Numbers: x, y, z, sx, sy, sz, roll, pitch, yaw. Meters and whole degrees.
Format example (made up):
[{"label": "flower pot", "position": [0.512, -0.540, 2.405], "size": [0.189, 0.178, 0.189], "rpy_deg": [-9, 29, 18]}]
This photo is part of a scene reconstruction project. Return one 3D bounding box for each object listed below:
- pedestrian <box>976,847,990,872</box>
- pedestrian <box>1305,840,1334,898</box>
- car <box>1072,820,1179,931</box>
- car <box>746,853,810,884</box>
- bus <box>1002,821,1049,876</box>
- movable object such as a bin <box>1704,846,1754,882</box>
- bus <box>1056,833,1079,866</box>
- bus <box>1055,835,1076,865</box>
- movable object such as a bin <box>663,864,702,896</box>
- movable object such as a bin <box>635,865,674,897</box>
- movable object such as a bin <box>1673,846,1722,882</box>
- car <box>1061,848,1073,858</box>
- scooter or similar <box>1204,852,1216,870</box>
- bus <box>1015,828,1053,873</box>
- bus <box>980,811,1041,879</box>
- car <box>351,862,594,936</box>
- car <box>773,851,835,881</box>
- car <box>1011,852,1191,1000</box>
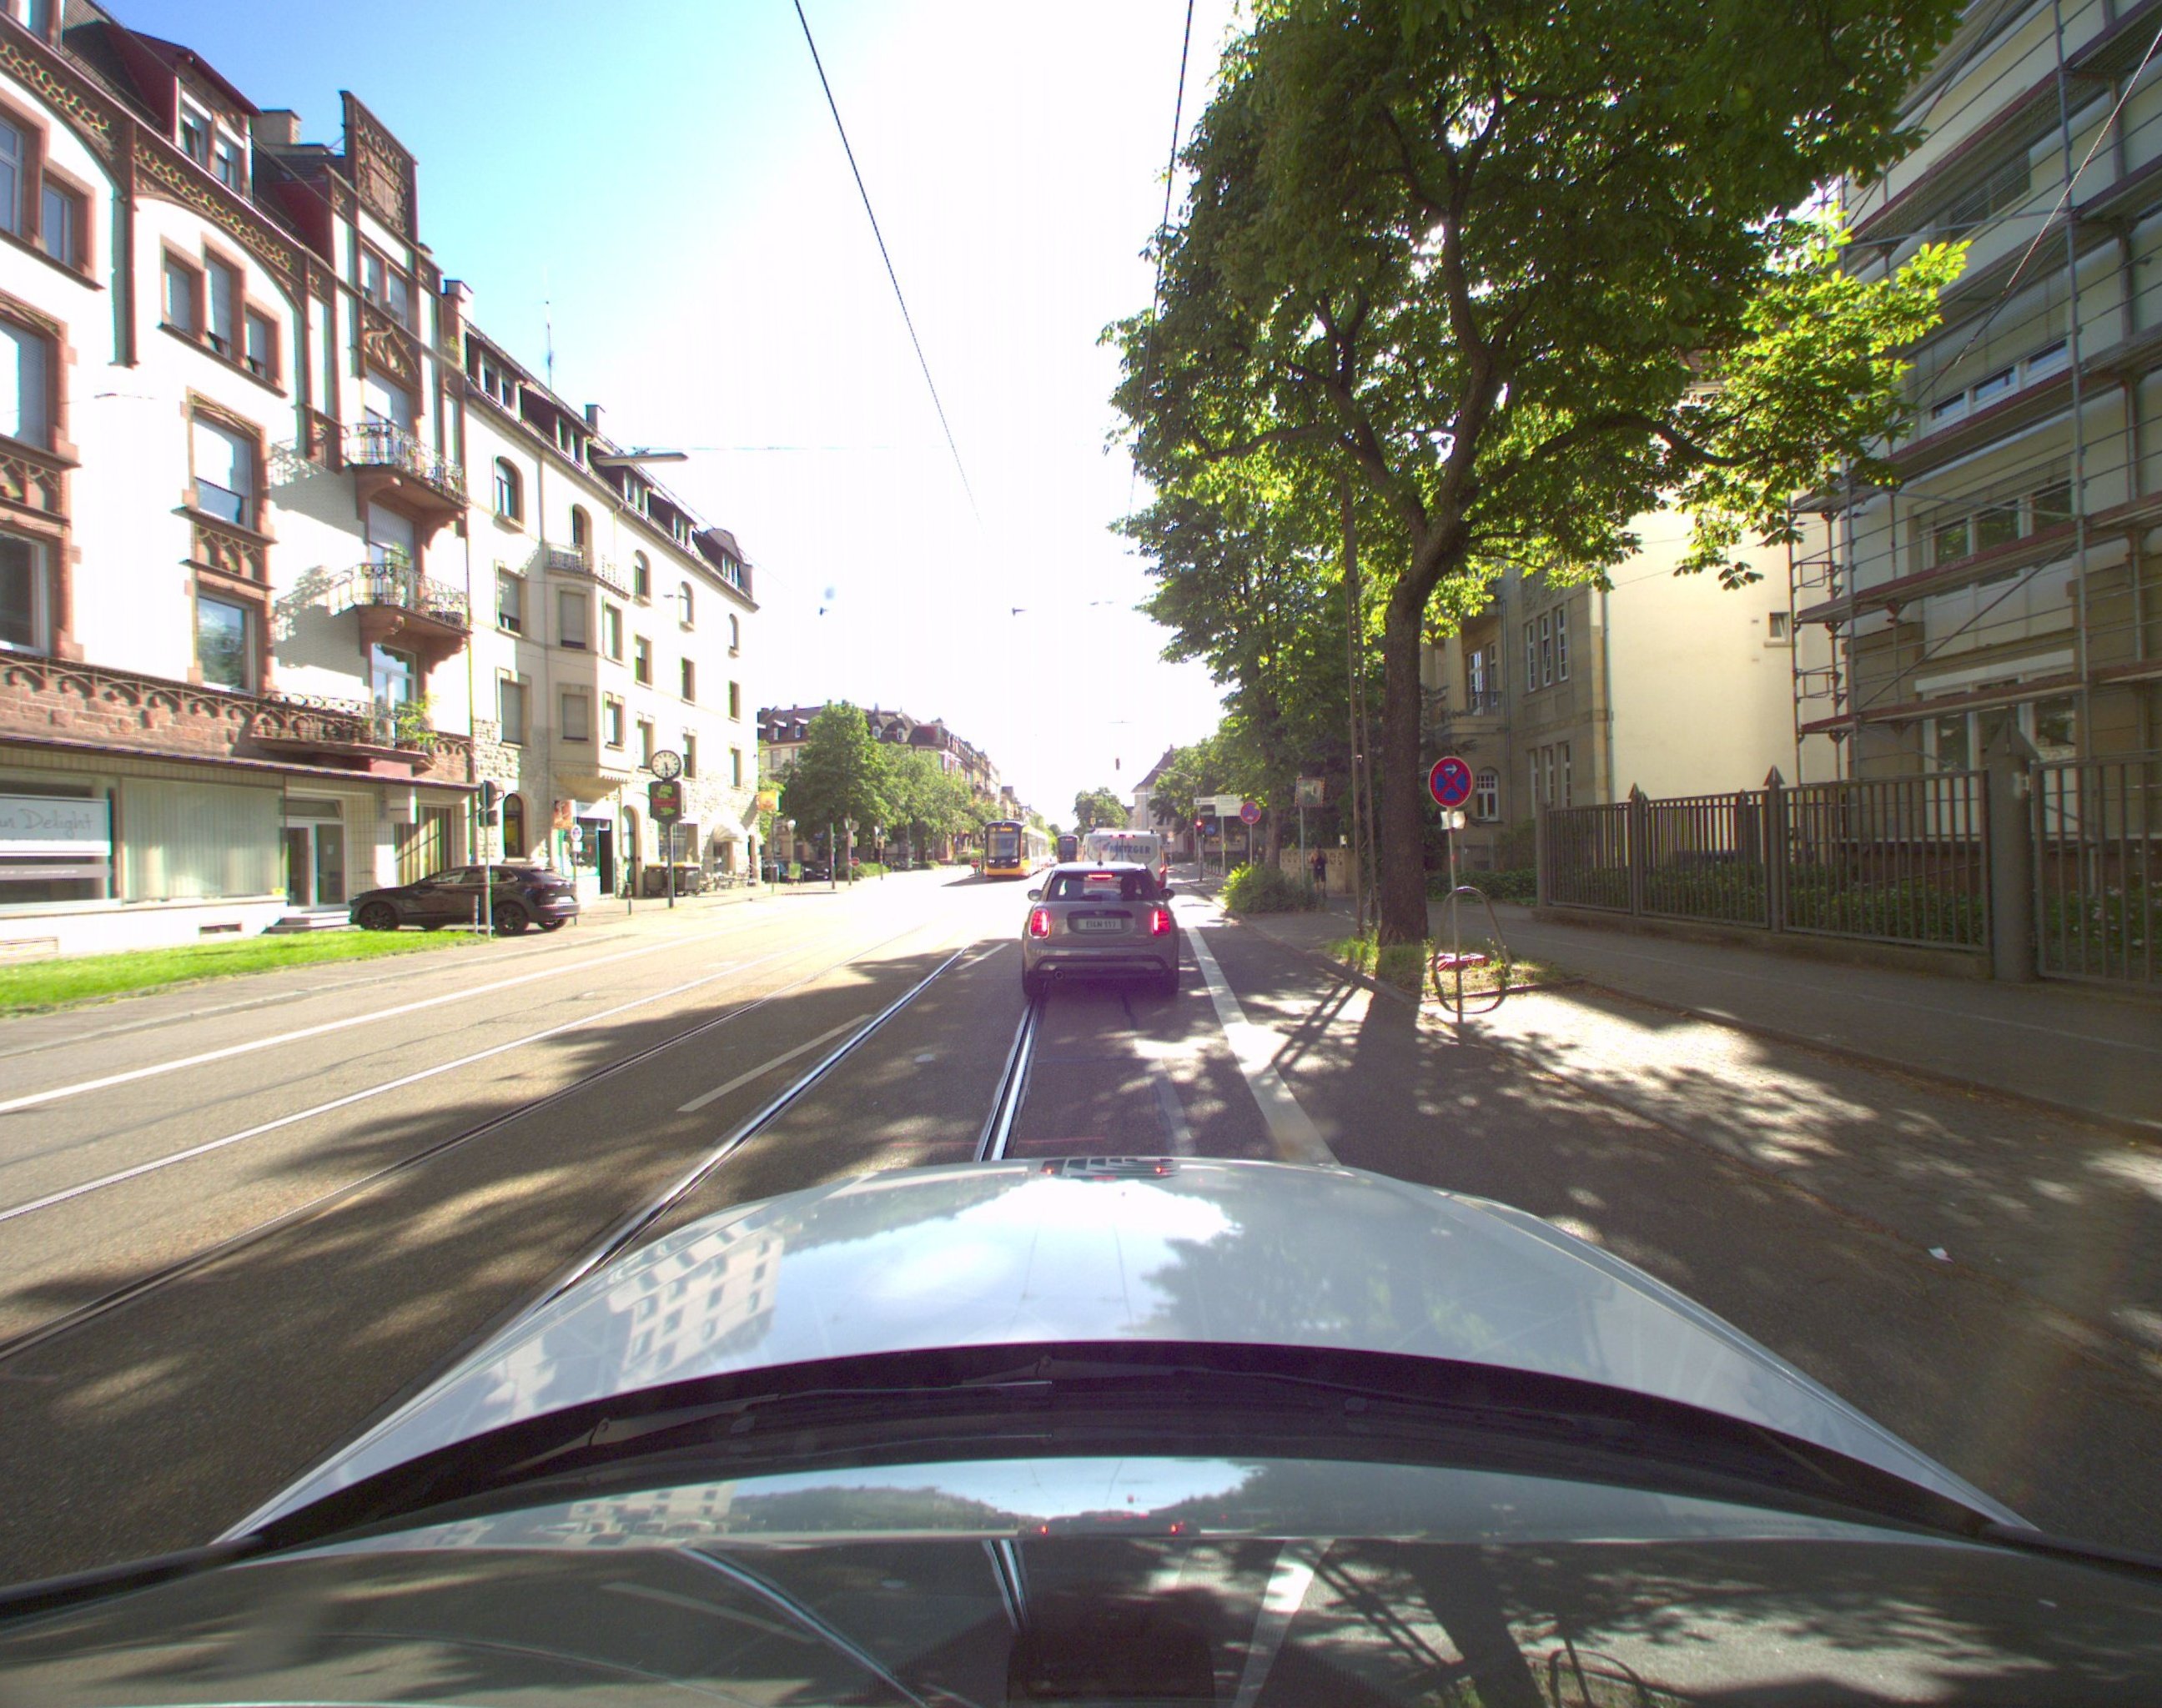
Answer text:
[{"label": "pedestrian", "position": [-7.213, 0.408, 59.947], "size": [0.878, 1.802, 0.902], "rpy_deg": [0, -1, 0]}, {"label": "pedestrian", "position": [7.070, 0.444, 24.191], "size": [0.590, 1.671, 0.647], "rpy_deg": [-3, -1, 1]}, {"label": "car", "position": [0.972, 0.446, 18.737], "size": [2.110, 2.208, 4.946], "rpy_deg": [0, -1, 2]}, {"label": "car", "position": [-20.551, 0.992, 55.195], "size": [3.949, 2.014, 2.012], "rpy_deg": [-1, -1, 30]}, {"label": "bus", "position": [-4.094, -0.347, 62.399], "size": [2.851, 3.777, 11.179], "rpy_deg": [0, 0, -1]}, {"label": "movable object such as a bin", "position": [17.542, 0.266, 22.049], "size": [0.831, 0.955, 0.648], "rpy_deg": [0, -1, 0]}, {"label": "bus", "position": [-1.609, -0.472, 91.237], "size": [2.379, 3.496, 7.377], "rpy_deg": [0, -1, -2]}, {"label": "bus", "position": [-1.916, -0.425, 98.640], "size": [2.379, 3.496, 7.377], "rpy_deg": [0, -1, -2]}, {"label": "movable object such as a bin", "position": [-16.033, 1.048, 32.824], "size": [0.941, 1.273, 1.145], "rpy_deg": [0, -1, 5]}, {"label": "movable object such as a bin", "position": [-16.973, 1.068, 32.418], "size": [0.829, 1.223, 1.245], "rpy_deg": [0, -1, 4]}, {"label": "movable object such as a bin", "position": [16.677, 0.272, 22.038], "size": [0.831, 0.955, 0.648], "rpy_deg": [0, -1, 0]}, {"label": "car", "position": [-2.116, -0.156, 124.293], "size": [1.859, 1.563, 3.997], "rpy_deg": [0, -1, -2]}, {"label": "scooter or similar", "position": [9.317, 0.492, 58.762], "size": [0.673, 1.310, 1.329], "rpy_deg": [0, -1, 1]}, {"label": "bus", "position": [-4.139, -0.240, 74.096], "size": [2.841, 3.777, 12.193], "rpy_deg": [0, 0, 0]}, {"label": "bus", "position": [-4.191, -0.455, 50.982], "size": [2.851, 3.777, 11.494], "rpy_deg": [0, 0, -1]}, {"label": "car", "position": [-13.588, 0.991, 18.396], "size": [3.981, 1.503, 1.768], "rpy_deg": [1, -1, -6]}, {"label": "car", "position": [-19.493, 0.827, 57.249], "size": [3.949, 2.014, 2.012], "rpy_deg": [-1, -1, 30]}, {"label": "car", "position": [0.262, 0.742, 10.223], "size": [1.808, 1.488, 4.001], "rpy_deg": [0, -1, 2]}]
